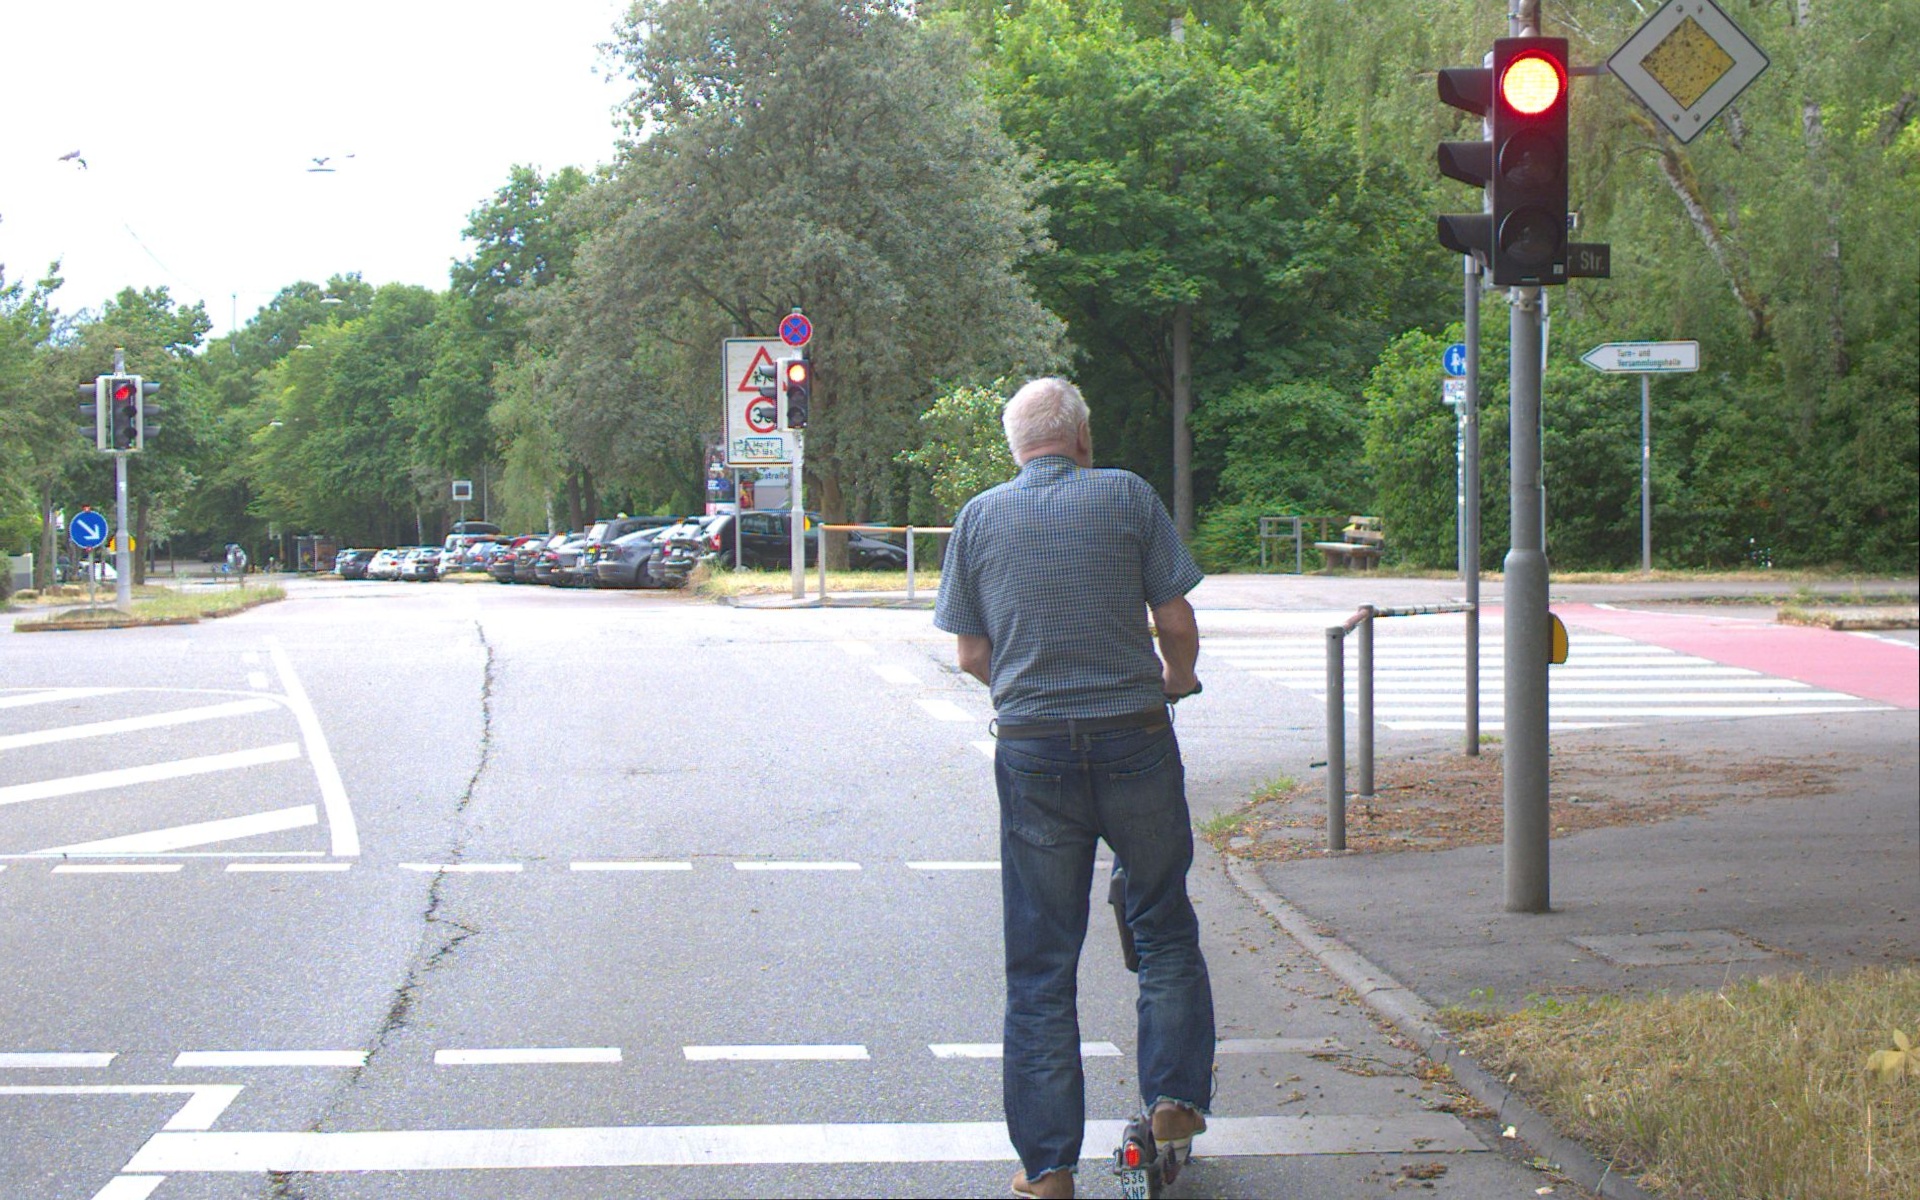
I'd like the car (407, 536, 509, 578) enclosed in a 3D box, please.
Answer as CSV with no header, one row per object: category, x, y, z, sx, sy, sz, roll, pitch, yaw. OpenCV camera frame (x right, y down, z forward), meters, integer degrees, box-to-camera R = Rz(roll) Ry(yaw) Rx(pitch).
car,-20.847,-1.805,142.768,3.840,1.605,1.729,-3,2,-23

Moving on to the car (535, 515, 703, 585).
car,-8.598,-1.266,86.649,3.840,1.605,1.729,-3,2,-23

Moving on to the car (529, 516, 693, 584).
car,-9.038,-1.311,89.061,3.840,1.605,1.729,-3,2,-23

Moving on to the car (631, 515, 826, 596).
car,-5.047,-0.970,74.790,3.840,1.605,1.729,-2,2,-21

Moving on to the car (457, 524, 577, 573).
car,-15.698,-1.833,121.891,3.840,1.605,1.729,-3,2,-23

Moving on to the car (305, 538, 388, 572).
car,-31.321,-2.307,175.635,3.840,1.605,1.729,-3,2,-23

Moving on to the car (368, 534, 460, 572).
car,-25.145,-2.176,158.331,3.840,1.605,1.729,-3,2,-23

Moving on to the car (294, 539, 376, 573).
car,-32.343,-2.279,177.974,3.840,1.605,1.729,-3,2,-23

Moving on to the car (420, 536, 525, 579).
car,-19.742,-1.725,139.093,3.840,1.605,1.729,-3,2,-23

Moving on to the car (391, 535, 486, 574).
car,-23.368,-2.030,154.072,3.840,1.605,1.729,-3,2,-23

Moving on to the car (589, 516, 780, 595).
car,-6.148,-1.001,76.760,3.841,1.605,1.728,-3,2,-24

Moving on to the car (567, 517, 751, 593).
car,-6.949,-1.053,79.301,3.840,1.605,1.729,-3,2,-23

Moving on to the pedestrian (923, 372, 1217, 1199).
pedestrian,0.251,0.418,7.567,0.573,1.807,0.420,-1,1,8

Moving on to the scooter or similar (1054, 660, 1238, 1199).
scooter or similar,0.416,0.744,7.397,0.282,1.174,1.177,-1,1,8

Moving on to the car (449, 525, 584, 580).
car,-14.051,-1.521,108.925,3.840,1.605,1.729,-3,2,-23

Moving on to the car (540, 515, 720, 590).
car,-7.811,-1.132,81.336,3.840,1.605,1.729,-3,2,-23
